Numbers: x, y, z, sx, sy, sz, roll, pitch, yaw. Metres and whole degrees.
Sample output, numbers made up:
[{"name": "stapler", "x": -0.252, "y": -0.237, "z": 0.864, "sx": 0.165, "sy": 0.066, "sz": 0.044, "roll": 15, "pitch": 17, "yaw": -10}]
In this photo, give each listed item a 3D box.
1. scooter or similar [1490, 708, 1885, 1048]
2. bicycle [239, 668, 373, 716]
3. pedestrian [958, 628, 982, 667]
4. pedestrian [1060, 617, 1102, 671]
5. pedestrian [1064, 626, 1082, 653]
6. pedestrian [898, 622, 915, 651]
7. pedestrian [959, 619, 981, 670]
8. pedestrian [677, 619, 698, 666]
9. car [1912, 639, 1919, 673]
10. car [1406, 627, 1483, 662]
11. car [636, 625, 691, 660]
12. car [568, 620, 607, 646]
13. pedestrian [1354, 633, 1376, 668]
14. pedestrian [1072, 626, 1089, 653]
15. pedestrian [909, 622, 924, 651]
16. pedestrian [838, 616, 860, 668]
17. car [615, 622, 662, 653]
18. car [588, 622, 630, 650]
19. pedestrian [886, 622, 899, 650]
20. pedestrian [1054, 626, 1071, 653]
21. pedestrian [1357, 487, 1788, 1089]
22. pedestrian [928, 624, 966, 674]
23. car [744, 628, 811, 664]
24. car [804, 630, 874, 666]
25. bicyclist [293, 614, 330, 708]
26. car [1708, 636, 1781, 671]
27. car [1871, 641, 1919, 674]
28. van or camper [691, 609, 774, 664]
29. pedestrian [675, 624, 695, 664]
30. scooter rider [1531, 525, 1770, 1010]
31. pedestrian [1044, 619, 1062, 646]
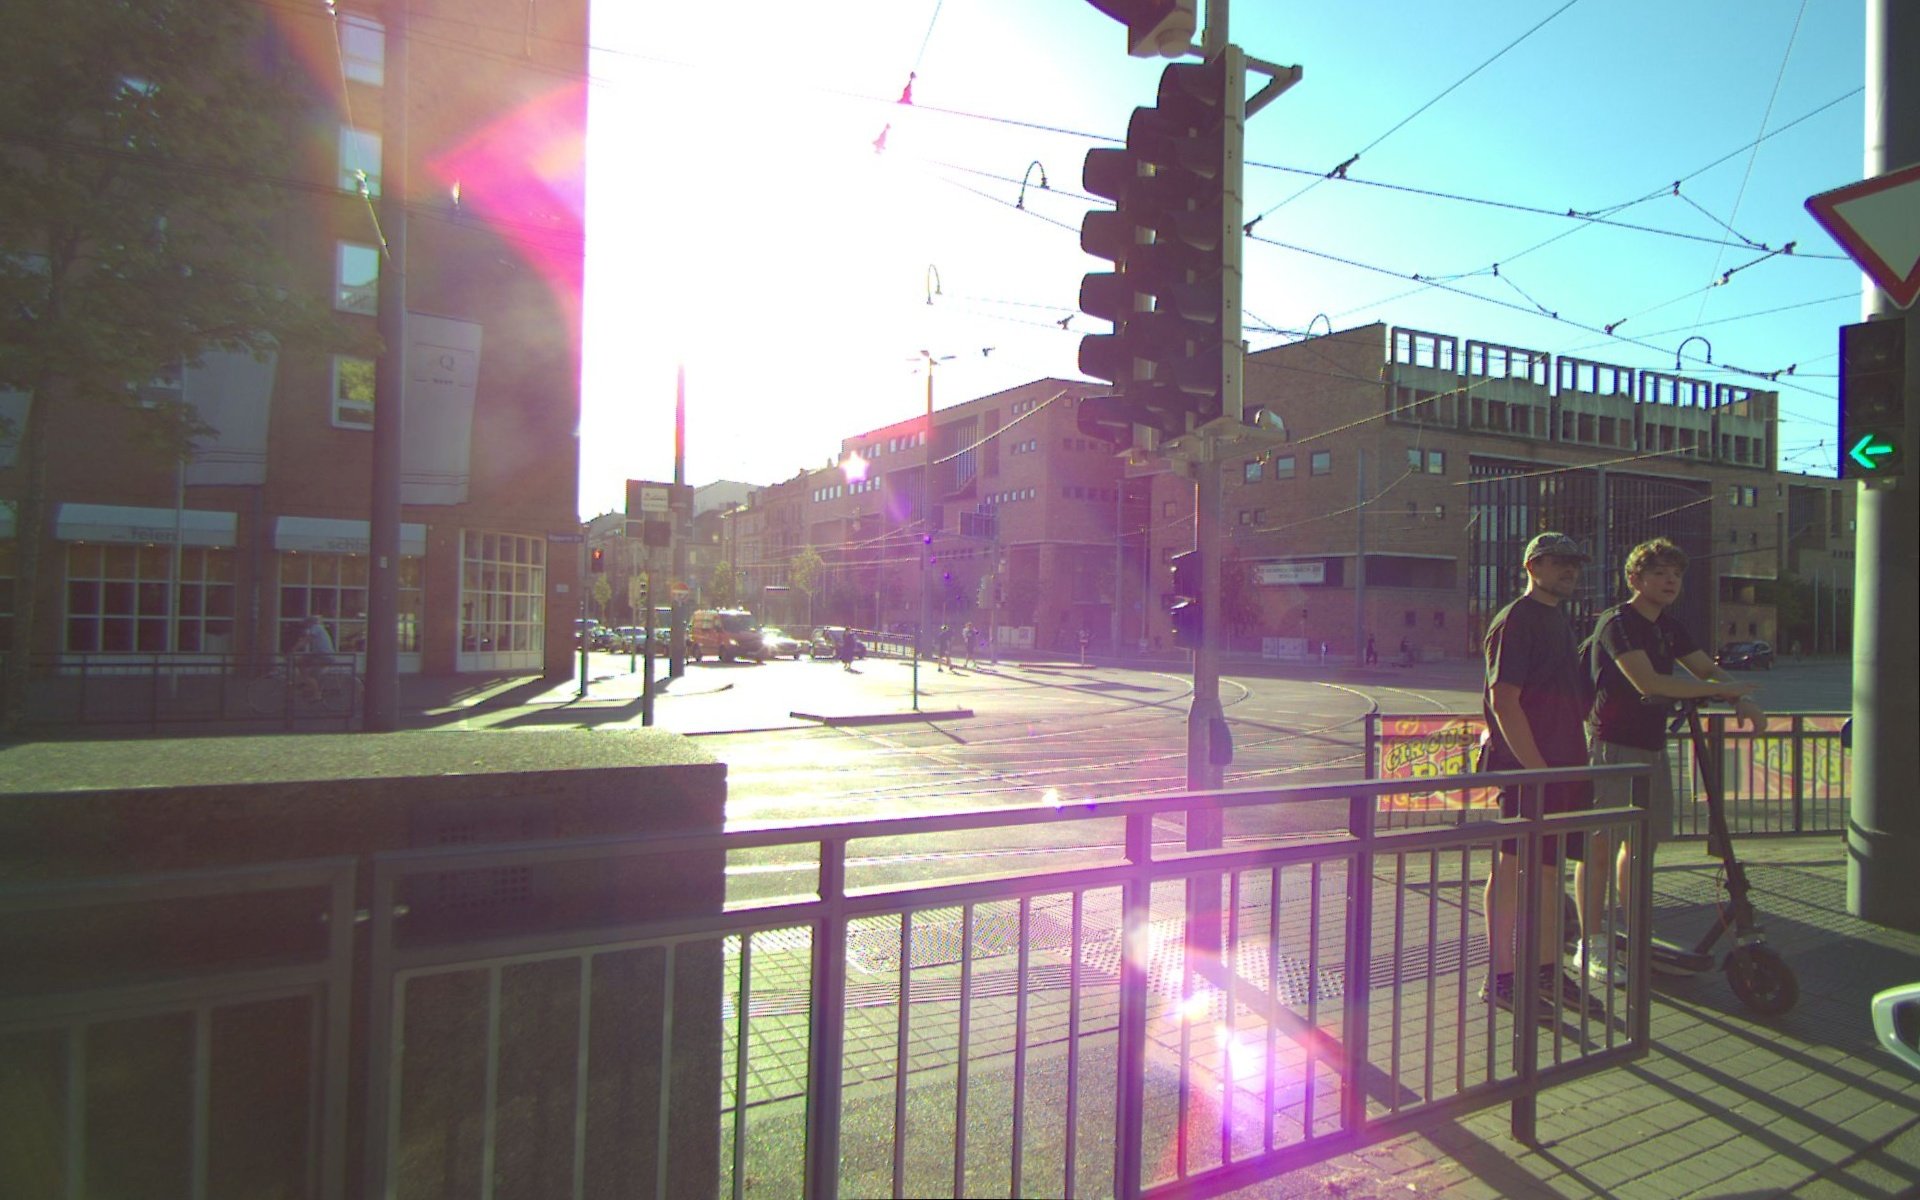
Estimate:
[{"name": "scooter or similar", "x": 2.989, "y": 1.056, "z": 4.239, "sx": 0.639, "sy": 1.095, "sz": 1.199, "roll": 2, "pitch": -2, "yaw": -25}, {"name": "bicycle", "x": -11.604, "y": 1.622, "z": 17.893, "sx": 1.946, "sy": 0.781, "sz": 0.587, "roll": 2, "pitch": -2, "yaw": -32}, {"name": "pedestrian", "x": 0.475, "y": 2.202, "z": 46.640, "sx": 0.857, "sy": 1.775, "sz": 0.672, "roll": 2, "pitch": -2, "yaw": -30}, {"name": "pedestrian", "x": 4.712, "y": 1.713, "z": 39.146, "sx": 1.193, "sy": 2.040, "sz": 1.028, "roll": 2, "pitch": 0, "yaw": -30}, {"name": "pedestrian", "x": 8.583, "y": 2.995, "z": 76.295, "sx": 0.841, "sy": 2.079, "sz": 1.001, "roll": 2, "pitch": -2, "yaw": -32}, {"name": "pedestrian", "x": -3.740, "y": 2.557, "z": 70.366, "sx": 0.917, "sy": 2.010, "sz": 0.780, "roll": 2, "pitch": -2, "yaw": -32}, {"name": "pedestrian", "x": 0.406, "y": 1.833, "z": 41.444, "sx": 0.603, "sy": 2.040, "sz": 0.731, "roll": 0, "pitch": -2, "yaw": 31}, {"name": "pedestrian", "x": -12.062, "y": 1.860, "z": 44.400, "sx": 0.597, "sy": 2.040, "sz": 0.848, "roll": 2, "pitch": -2, "yaw": -38}, {"name": "car", "x": 53.477, "y": 3.070, "z": 54.637, "sx": 3.962, "sy": 1.813, "sz": 1.810, "roll": 2, "pitch": -2, "yaw": -36}, {"name": "car", "x": 29.461, "y": 2.682, "z": 61.086, "sx": 4.131, "sy": 2.040, "sz": 1.990, "roll": 2, "pitch": -2, "yaw": -22}, {"name": "car", "x": -15.755, "y": 2.227, "z": 53.333, "sx": 1.738, "sy": 1.750, "sz": 3.964, "roll": 2, "pitch": -2, "yaw": -33}, {"name": "car", "x": -25.650, "y": 2.265, "z": 69.099, "sx": 1.738, "sy": 1.750, "sz": 3.965, "roll": 2, "pitch": -2, "yaw": -32}, {"name": "pedestrian", "x": 22.517, "y": 2.794, "z": 55.795, "sx": 0.866, "sy": 1.927, "sz": 0.718, "roll": 2, "pitch": 0, "yaw": -33}, {"name": "pedestrian", "x": 9.350, "y": 3.077, "z": 77.872, "sx": 0.841, "sy": 2.079, "sz": 1.001, "roll": 2, "pitch": -2, "yaw": -32}, {"name": "pedestrian", "x": -3.048, "y": 2.589, "z": 70.847, "sx": 0.742, "sy": 2.010, "sz": 0.780, "roll": 2, "pitch": -2, "yaw": -32}, {"name": "pedestrian", "x": -4.425, "y": 1.655, "z": 39.919, "sx": 0.722, "sy": 2.040, "sz": 0.611, "roll": 1, "pitch": -1, "yaw": -21}, {"name": "car", "x": -19.070, "y": 2.190, "z": 59.499, "sx": 1.738, "sy": 1.750, "sz": 3.965, "roll": 2, "pitch": -2, "yaw": -32}, {"name": "car", "x": -22.565, "y": 2.315, "z": 64.483, "sx": 1.738, "sy": 1.750, "sz": 3.965, "roll": 2, "pitch": -2, "yaw": -32}, {"name": "pedestrian", "x": -4.892, "y": 2.609, "z": 72.739, "sx": 0.644, "sy": 2.040, "sz": 0.780, "roll": 2, "pitch": -2, "yaw": -32}, {"name": "pedestrian", "x": 7.933, "y": 3.050, "z": 77.664, "sx": 0.841, "sy": 2.079, "sz": 1.001, "roll": 2, "pitch": -2, "yaw": -32}, {"name": "pedestrian", "x": 2.305, "y": 0.616, "z": 3.907, "sx": 0.843, "sy": 1.908, "sz": 1.164, "roll": 2, "pitch": -2, "yaw": -25}, {"name": "pedestrian", "x": -0.478, "y": 1.833, "z": 37.616, "sx": 0.943, "sy": 1.822, "sz": 0.989, "roll": 2, "pitch": 0, "yaw": 39}, {"name": "car", "x": -9.165, "y": 2.285, "z": 50.291, "sx": 1.978, "sy": 1.709, "sz": 3.965, "roll": 2, "pitch": -2, "yaw": -32}, {"name": "car", "x": -6.173, "y": 2.408, "z": 50.904, "sx": 1.978, "sy": 1.709, "sz": 3.965, "roll": 2, "pitch": -2, "yaw": -32}, {"name": "bicyclist", "x": -11.565, "y": 1.080, "z": 17.916, "sx": 0.509, "sy": 1.647, "sz": 0.583, "roll": 2, "pitch": -2, "yaw": -33}, {"name": "car", "x": 47.336, "y": 3.203, "z": 60.595, "sx": 4.415, "sy": 2.040, "sz": 1.869, "roll": 2, "pitch": -2, "yaw": -28}, {"name": "car", "x": 47.696, "y": 2.885, "z": 50.852, "sx": 3.962, "sy": 1.598, "sz": 1.610, "roll": 2, "pitch": -2, "yaw": -36}, {"name": "van or camper", "x": -10.692, "y": 1.678, "z": 47.010, "sx": 1.981, "sy": 2.451, "sz": 4.981, "roll": 2, "pitch": -2, "yaw": -36}, {"name": "pedestrian", "x": -12.803, "y": 2.026, "z": 46.688, "sx": 0.597, "sy": 1.843, "sz": 0.848, "roll": 2, "pitch": -2, "yaw": -38}, {"name": "scooter rider", "x": 2.950, "y": 0.668, "z": 4.303, "sx": 0.670, "sy": 1.877, "sz": 0.564, "roll": 3, "pitch": -2, "yaw": -25}, {"name": "pedestrian", "x": 7.113, "y": 2.505, "z": 76.876, "sx": 0.902, "sy": 2.040, "sz": 1.151, "roll": 2, "pitch": -2, "yaw": -33}]
